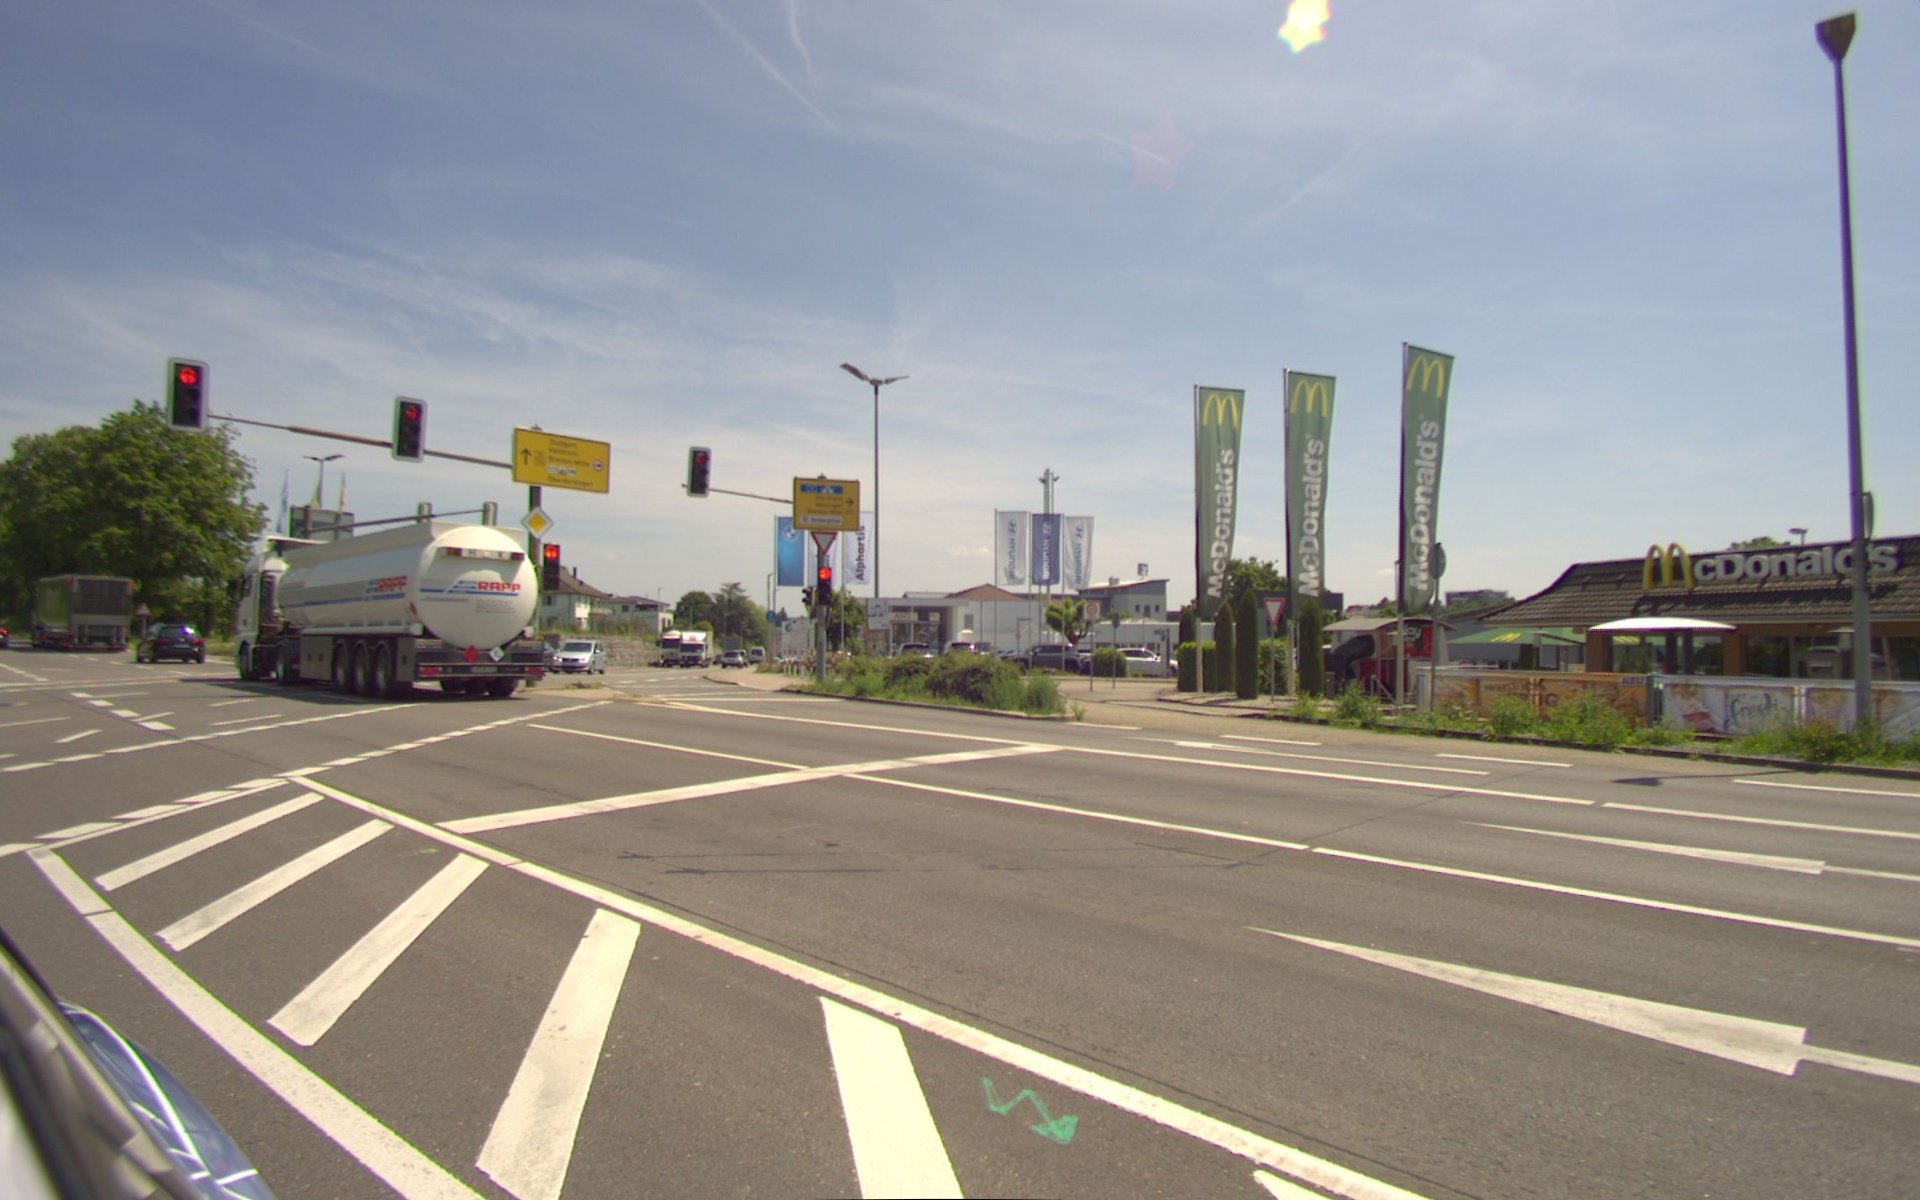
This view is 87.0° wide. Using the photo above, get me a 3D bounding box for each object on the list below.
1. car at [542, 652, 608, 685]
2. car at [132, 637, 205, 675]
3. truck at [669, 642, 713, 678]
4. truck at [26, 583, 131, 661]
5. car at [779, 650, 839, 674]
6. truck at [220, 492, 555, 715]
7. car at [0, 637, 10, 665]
[{"bbox_3d":[-17.912,3.164,47.288,1.894,1.432,4.005,1,-3,-6],"label":"car"},{"bbox_3d":[-31.922,2.241,40.770,4.154,1.439,1.665,-1,-4,43],"label":"car"},{"bbox_3d":[-25.964,5.803,98.140,2.955,3.245,9.629,1,-3,-8],"label":"truck"},{"bbox_3d":[-51.176,1.352,58.478,17.088,3.985,2.813,-2,-4,43],"label":"truck"},{"bbox_3d":[-10.494,4.276,70.041,3.934,1.586,2.005,1,-3,-12],"label":"car"},{"bbox_3d":[-14.525,0.282,24.466,15.131,4.049,2.576,-2,-4,43],"label":"truck"},{"bbox_3d":[-53.429,2.747,55.456,3.955,1.509,1.665,-1,-5,43],"label":"car"}]
